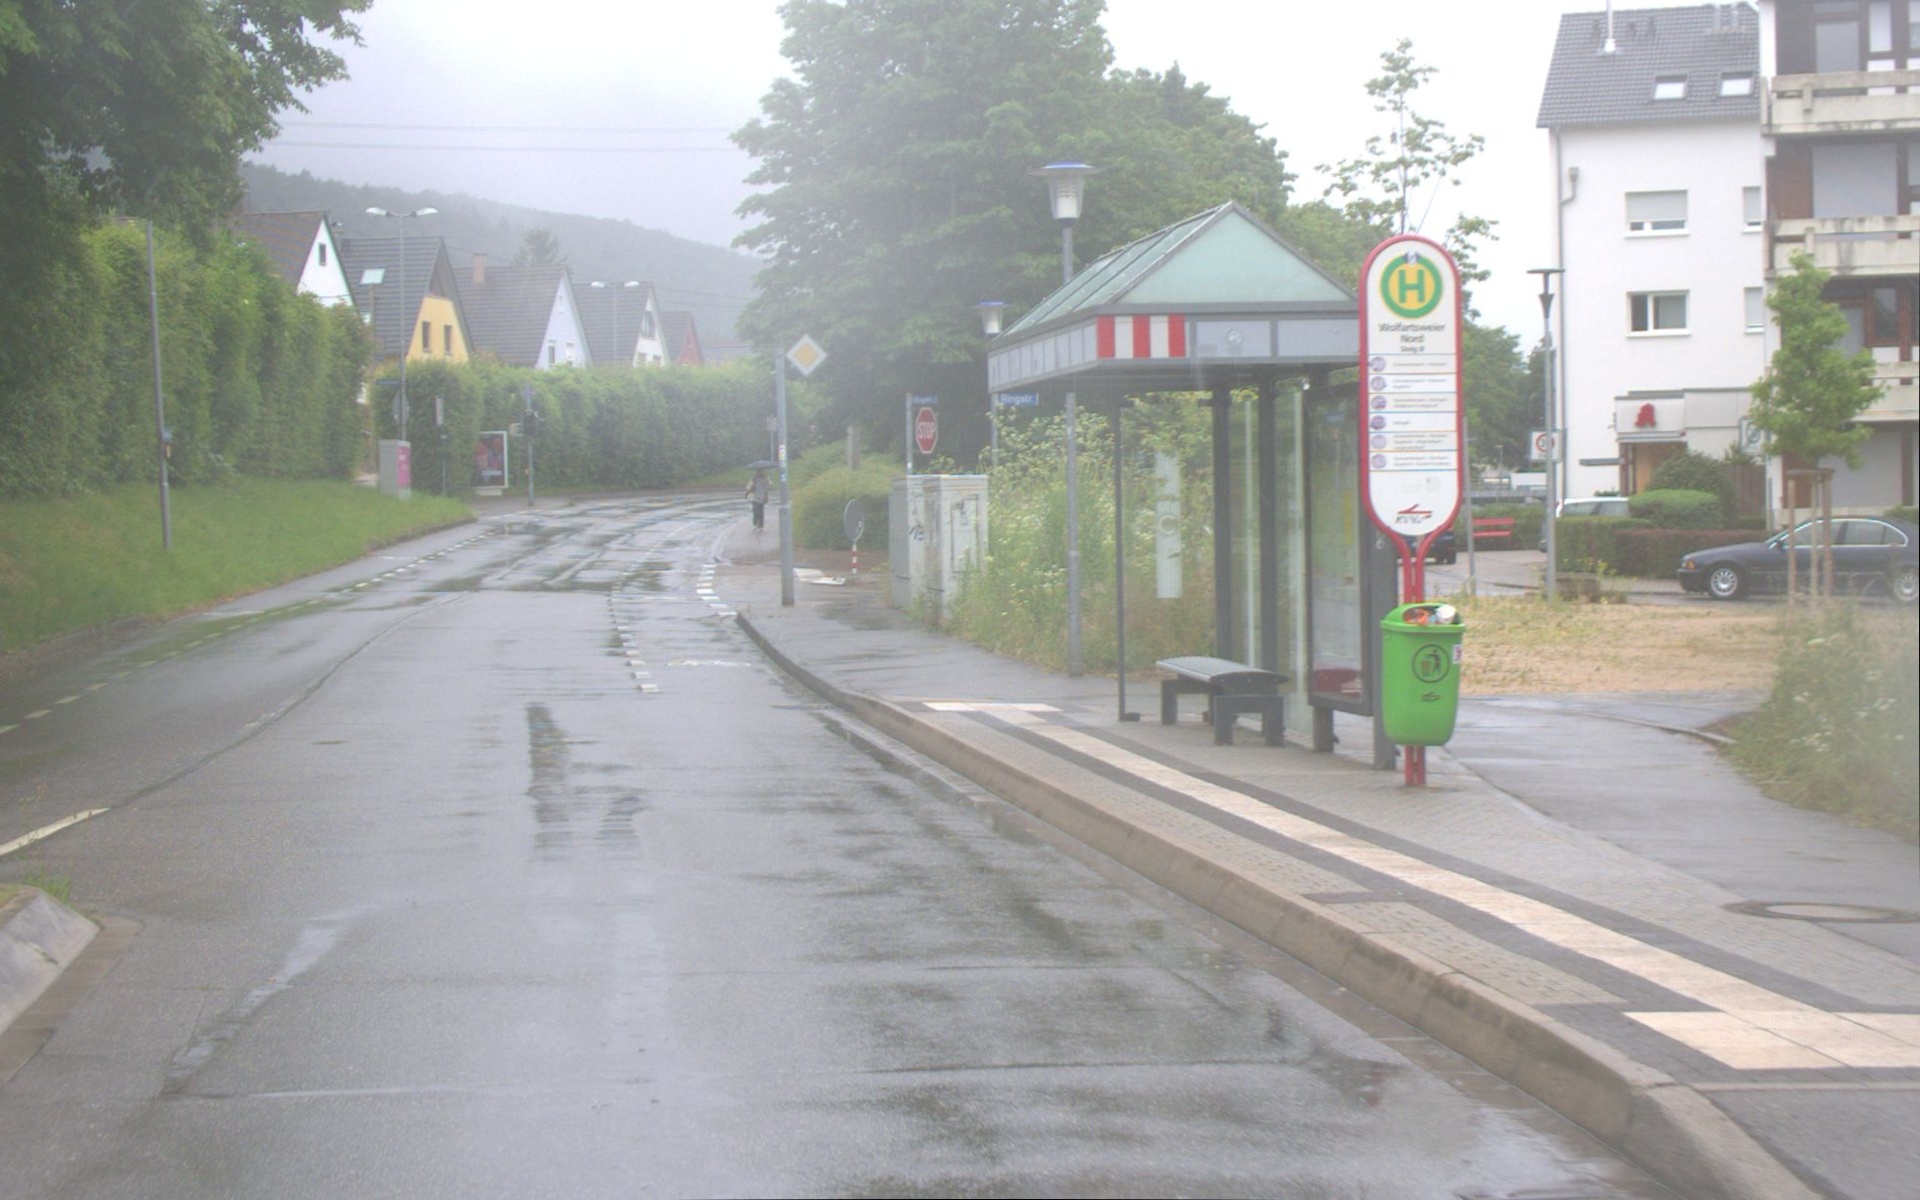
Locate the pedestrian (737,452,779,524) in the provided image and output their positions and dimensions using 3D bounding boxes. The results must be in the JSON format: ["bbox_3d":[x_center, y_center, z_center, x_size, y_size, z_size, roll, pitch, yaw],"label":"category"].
[{"bbox_3d":[-4.845,-2.699,82.525,0.920,1.669,1.057,-2,3,-2],"label":"pedestrian"}]

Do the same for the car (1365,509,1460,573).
[{"bbox_3d":[10.985,-1.451,83.660,1.688,1.433,3.613,0,3,-3],"label":"car"}]

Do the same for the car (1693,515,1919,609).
[{"bbox_3d":[14.108,-0.617,54.800,4.604,1.383,1.945,1,2,16],"label":"car"}]
